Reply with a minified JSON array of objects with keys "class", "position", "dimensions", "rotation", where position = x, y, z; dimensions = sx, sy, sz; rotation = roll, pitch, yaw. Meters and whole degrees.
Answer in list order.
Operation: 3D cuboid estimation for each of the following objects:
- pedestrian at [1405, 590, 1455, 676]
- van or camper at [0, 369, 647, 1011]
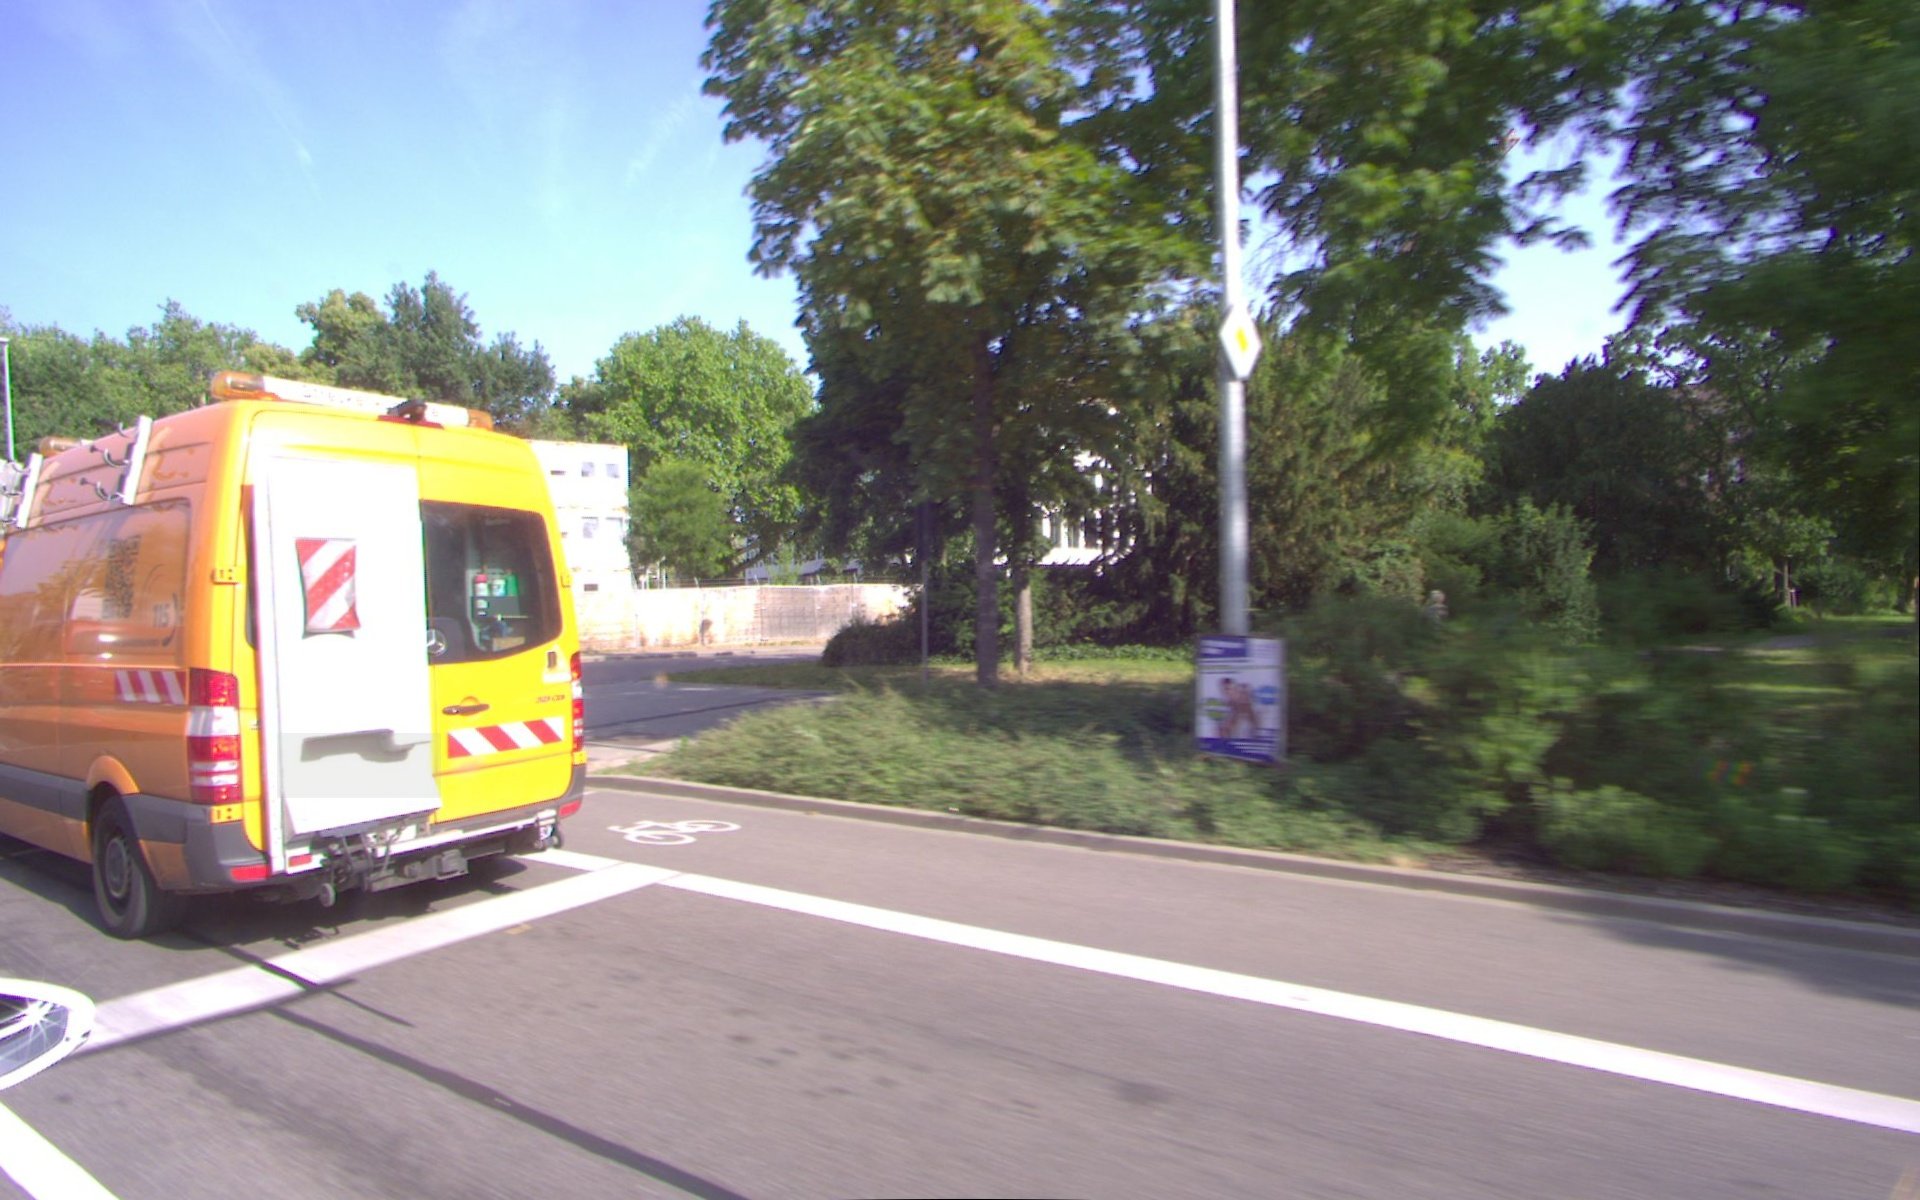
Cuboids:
[{"class":"pedestrian","position":[8.672,0.597,18.491],"dimensions":[0.659,1.538,0.532],"rotation":[-1,1,-26]},{"class":"van or camper","position":[-4.744,0.396,6.453],"dimensions":[5.979,2.504,1.981],"rotation":[0,-1,35]}]
